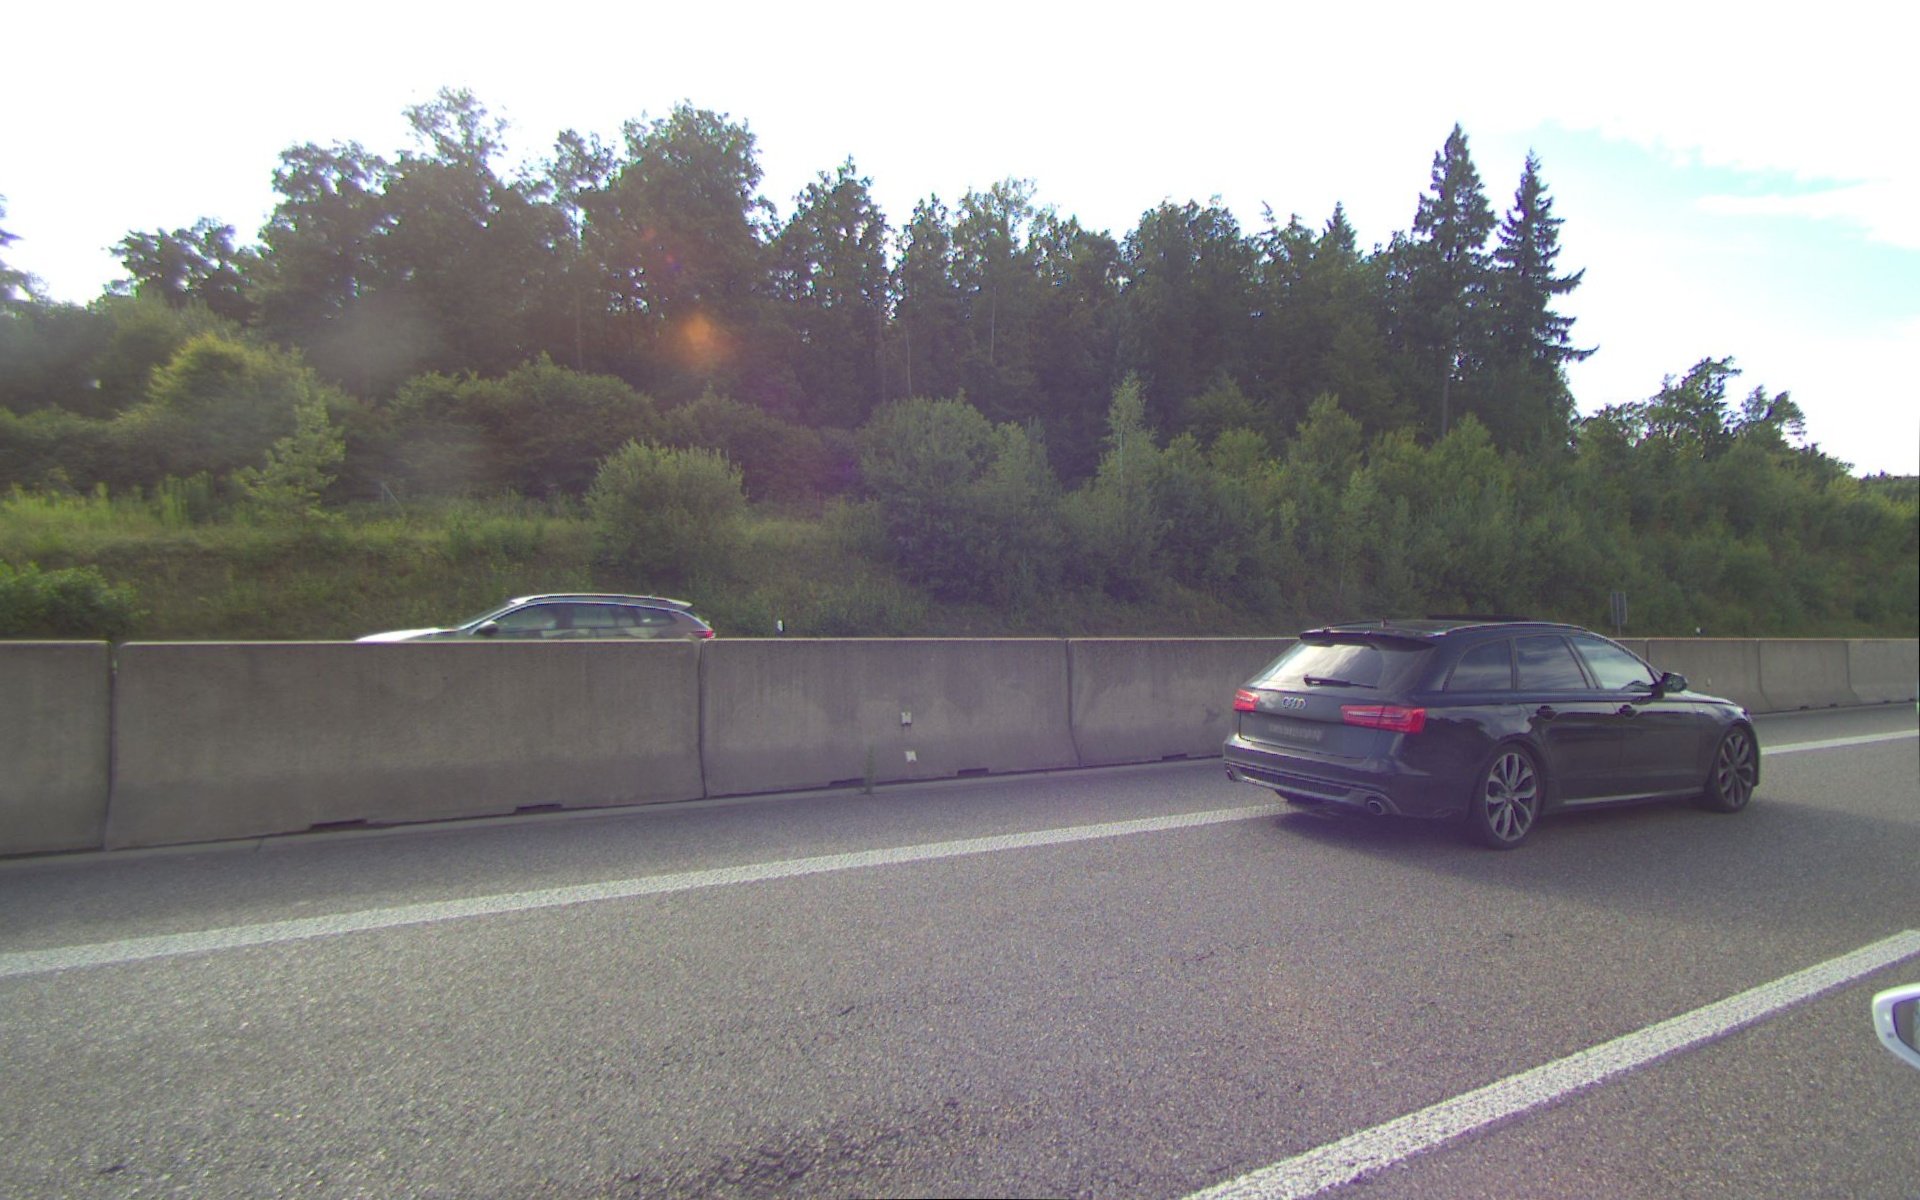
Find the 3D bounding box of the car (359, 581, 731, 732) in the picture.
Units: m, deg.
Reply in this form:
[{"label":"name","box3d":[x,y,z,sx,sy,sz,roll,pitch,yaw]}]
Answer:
[{"label":"car","box3d":[-5.739,0.719,14.128,4.570,1.834,1.843,1,0,-30]}]

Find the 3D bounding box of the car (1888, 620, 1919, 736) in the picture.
[{"label":"car","box3d":[14.351,1.053,13.283,4.256,1.480,1.797,2,-1,-29]}]

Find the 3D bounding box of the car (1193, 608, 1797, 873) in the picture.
[{"label":"car","box3d":[4.183,0.845,7.656,4.690,1.475,1.834,1,0,-30]}]
